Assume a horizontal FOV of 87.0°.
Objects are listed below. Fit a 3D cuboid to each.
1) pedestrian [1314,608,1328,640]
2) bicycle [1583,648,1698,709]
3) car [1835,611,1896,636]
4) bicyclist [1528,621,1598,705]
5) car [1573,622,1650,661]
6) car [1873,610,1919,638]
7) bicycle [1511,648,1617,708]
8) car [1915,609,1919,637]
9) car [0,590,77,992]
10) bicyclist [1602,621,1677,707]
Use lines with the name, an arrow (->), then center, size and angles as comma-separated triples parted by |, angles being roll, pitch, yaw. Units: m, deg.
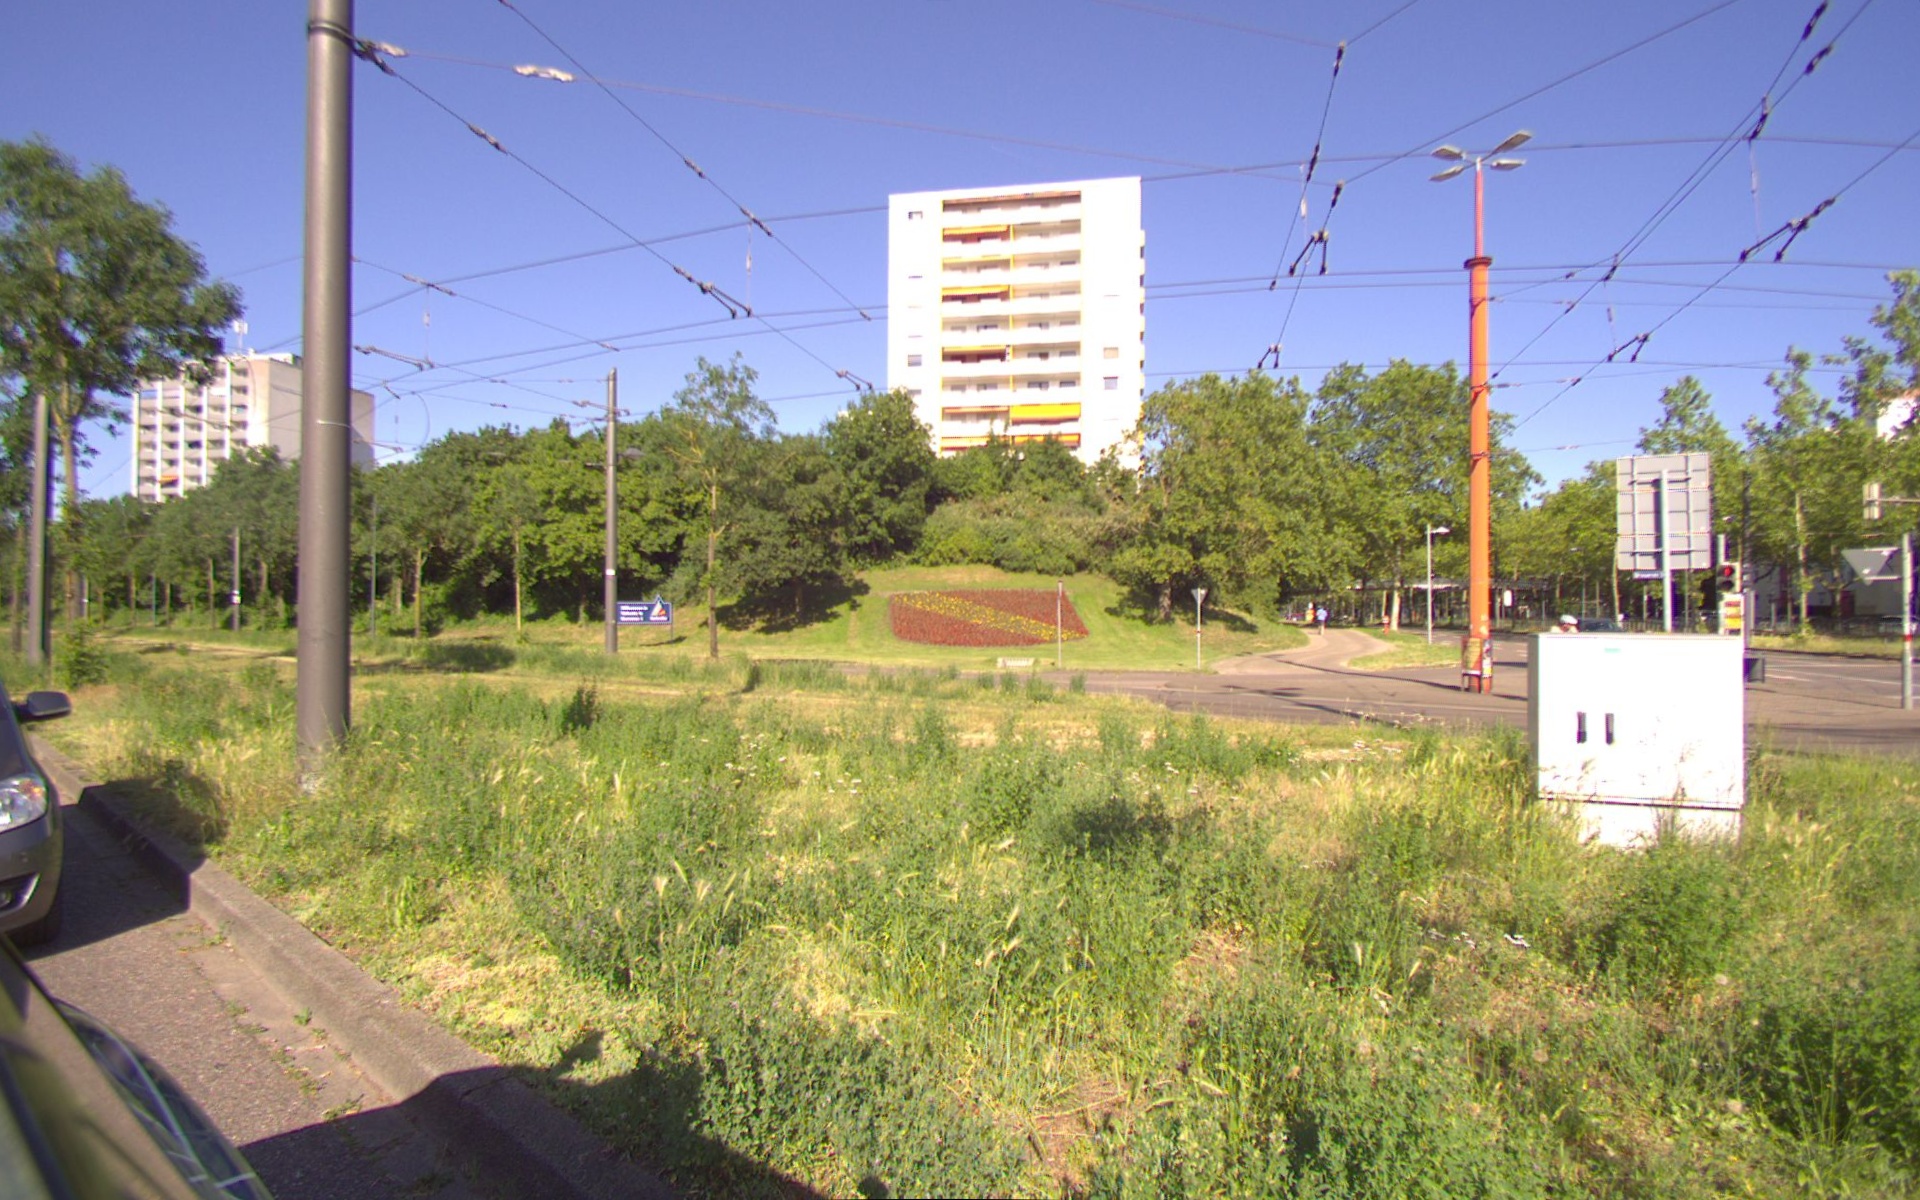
pedestrian -> 22.120, 1.445, 61.970 | 0.729, 1.949, 0.726 | -1, -2, 24
bicycle -> 13.346, 1.520, 19.920 | 0.915, 1.095, 1.888 | 0, -1, -2
car -> 65.999, 1.702, 73.772 | 3.931, 1.829, 2.006 | 1, -2, -27
bicyclist -> 12.085, 1.257, 20.306 | 0.920, 1.650, 0.741 | 0, -1, -1
car -> 28.322, 1.758, 44.108 | 1.928, 1.606, 3.882 | -1, -1, 20
car -> 65.232, 1.646, 69.875 | 3.931, 1.829, 2.006 | 1, -2, -27
bicycle -> 12.080, 1.535, 20.322 | 0.915, 1.095, 1.888 | 0, -1, -2
car -> 64.390, 1.508, 65.913 | 3.931, 1.829, 2.006 | 1, -2, -27
car -> -5.950, 0.796, 5.045 | 4.382, 1.619, 1.754 | -1, -2, 41
bicyclist -> 13.342, 1.240, 19.887 | 0.920, 1.650, 0.741 | 0, -1, -1
